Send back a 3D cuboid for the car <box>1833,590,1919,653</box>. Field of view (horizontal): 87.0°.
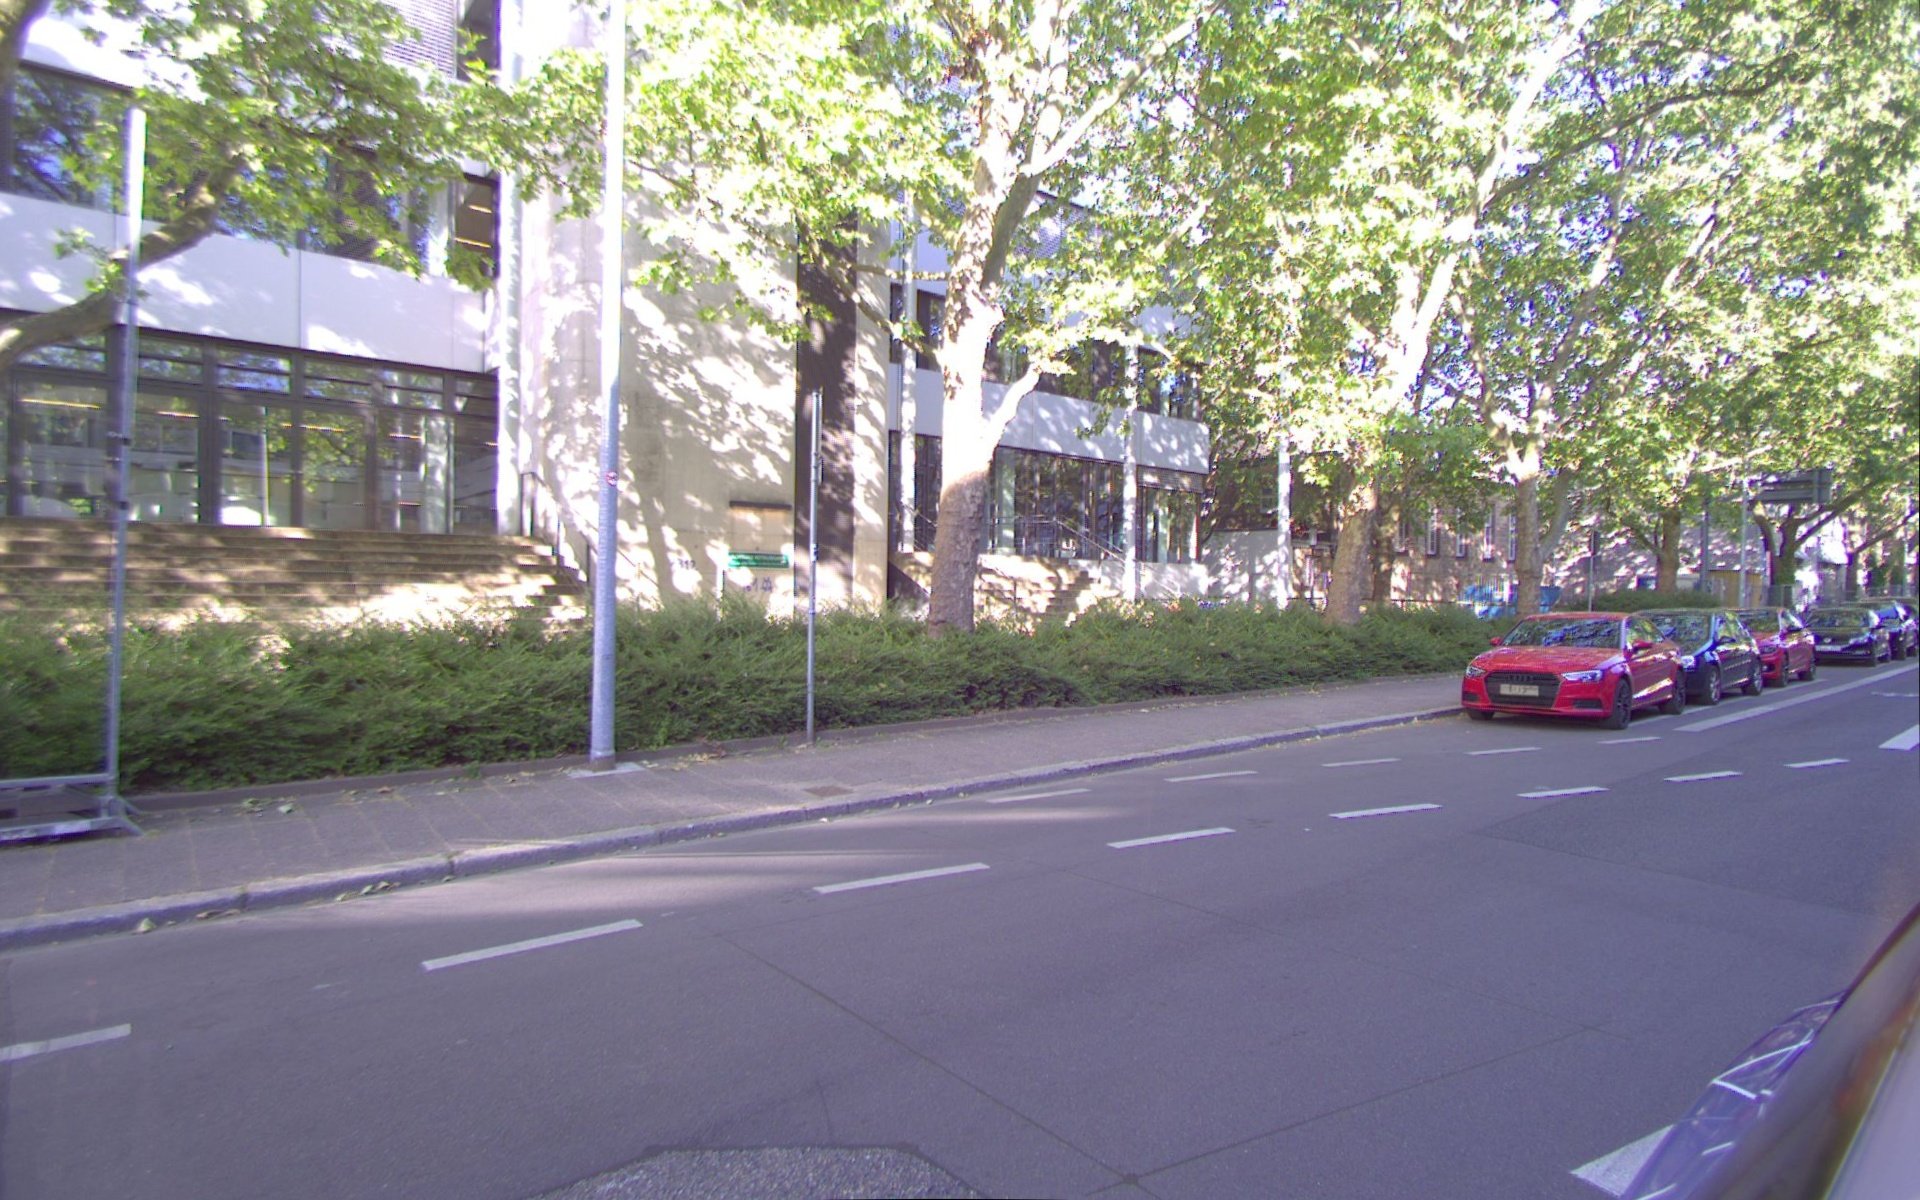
[{"bbox_3d":[26.717,0.586,29.182,4.101,1.674,1.753,0,-1,-41],"label":"car"}]

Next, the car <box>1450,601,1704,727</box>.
[{"bbox_3d":[8.277,0.741,13.449,3.930,1.427,1.753,0,-1,-41],"label":"car"}]

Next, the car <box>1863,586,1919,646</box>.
[{"bbox_3d":[30.974,0.487,32.972,4.370,1.843,1.753,0,-1,-41],"label":"car"}]

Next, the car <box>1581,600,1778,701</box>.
[{"bbox_3d":[11.853,0.739,16.594,3.841,1.451,1.753,0,-1,-41],"label":"car"}]

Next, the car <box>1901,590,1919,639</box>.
[{"bbox_3d":[36.197,0.517,37.269,4.370,1.750,1.753,0,-1,-41],"label":"car"}]

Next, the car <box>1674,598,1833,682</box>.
[{"bbox_3d":[15.705,0.721,19.971,3.841,1.486,1.753,0,-1,-41],"label":"car"}]

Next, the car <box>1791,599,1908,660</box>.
[{"bbox_3d":[22.950,0.716,26.069,3.841,1.451,1.753,0,-1,-41],"label":"car"}]
